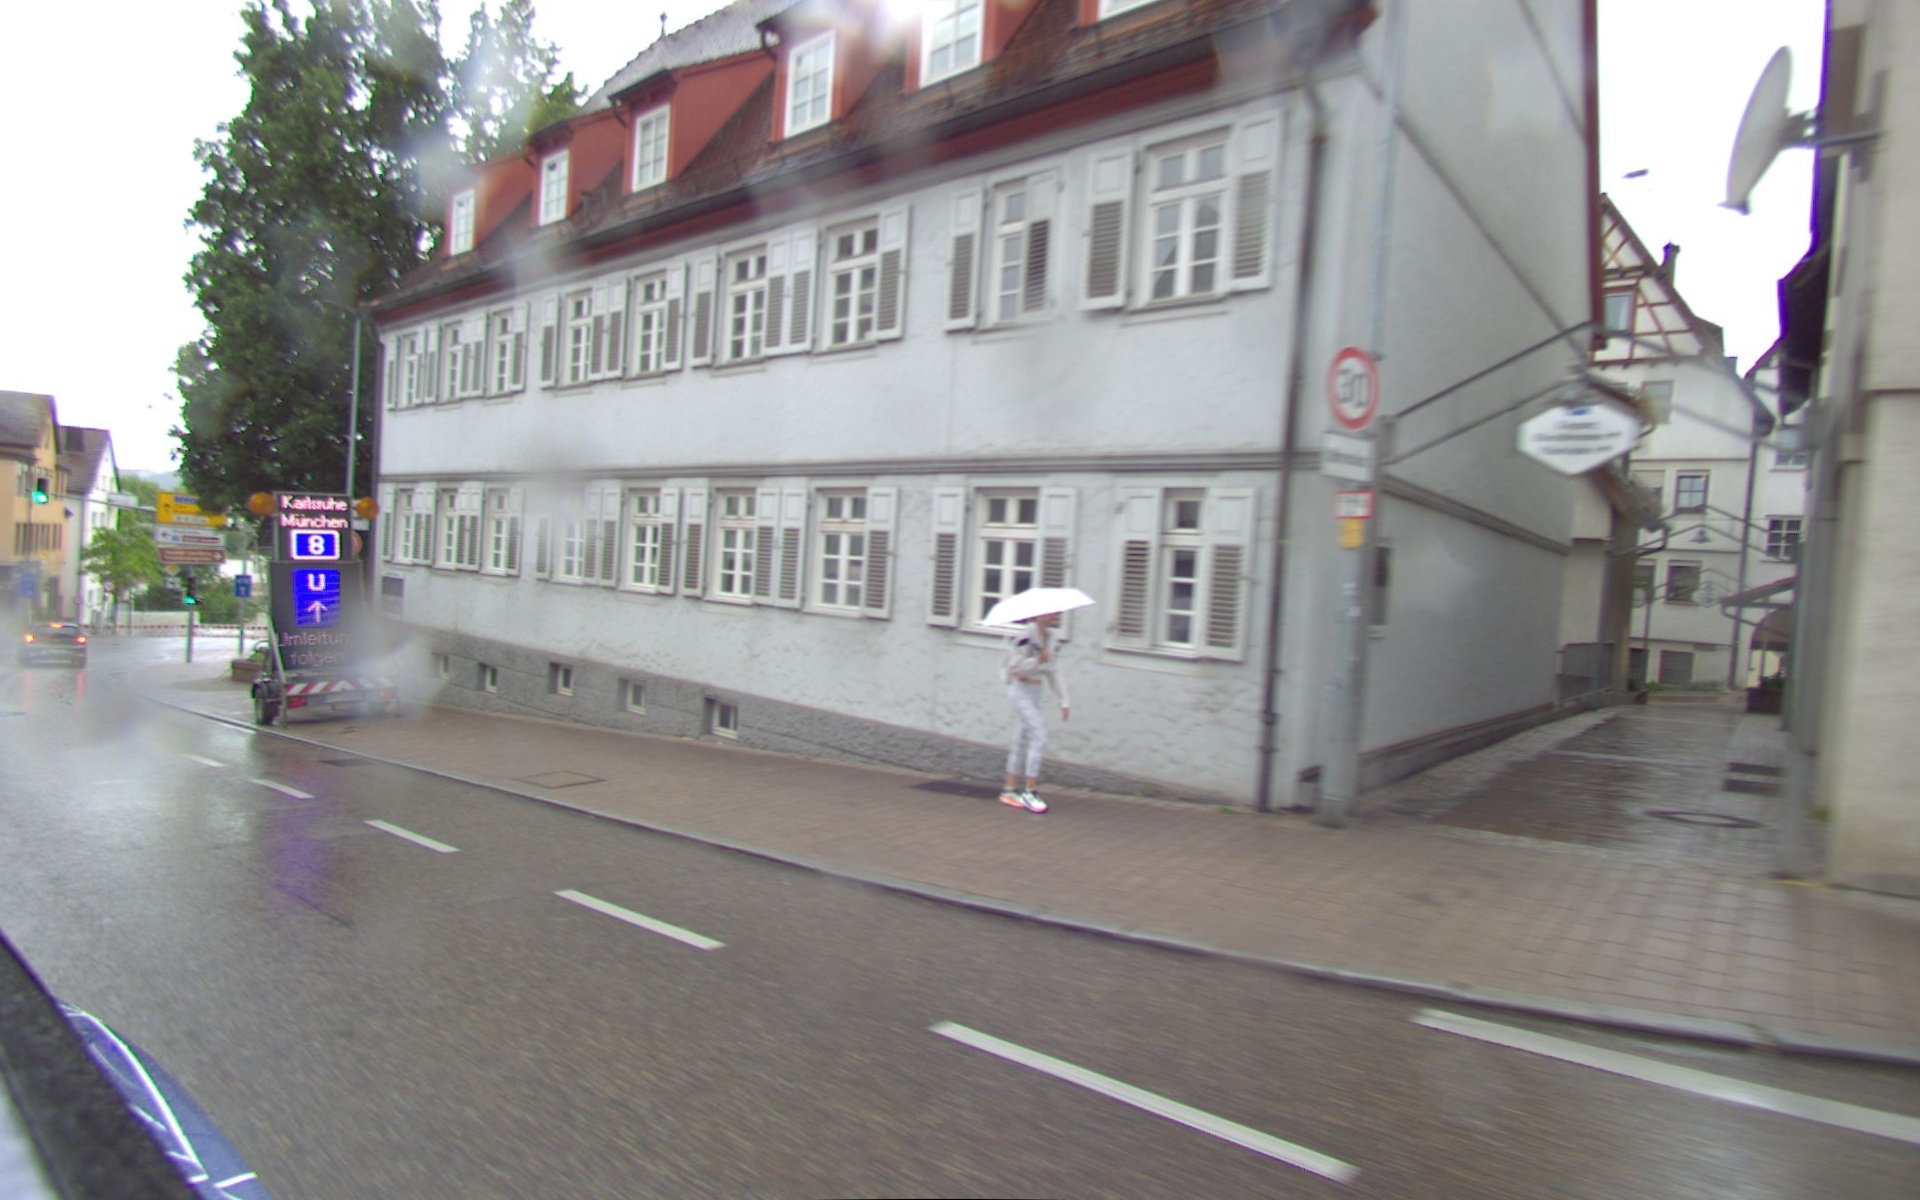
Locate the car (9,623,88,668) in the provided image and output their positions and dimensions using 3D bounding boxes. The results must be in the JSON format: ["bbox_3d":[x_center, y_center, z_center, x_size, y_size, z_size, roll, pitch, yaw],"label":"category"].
[{"bbox_3d":[-31.852,1.580,35.336,3.584,1.483,1.591,-2,-4,42],"label":"car"}]

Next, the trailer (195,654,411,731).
[{"bbox_3d":[-10.878,1.439,16.627,4.477,0.912,1.972,-1,-1,43],"label":"trailer"}]

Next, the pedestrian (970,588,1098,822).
[{"bbox_3d":[0.592,0.790,8.099,0.735,1.753,0.680,-1,-1,43],"label":"pedestrian"}]
